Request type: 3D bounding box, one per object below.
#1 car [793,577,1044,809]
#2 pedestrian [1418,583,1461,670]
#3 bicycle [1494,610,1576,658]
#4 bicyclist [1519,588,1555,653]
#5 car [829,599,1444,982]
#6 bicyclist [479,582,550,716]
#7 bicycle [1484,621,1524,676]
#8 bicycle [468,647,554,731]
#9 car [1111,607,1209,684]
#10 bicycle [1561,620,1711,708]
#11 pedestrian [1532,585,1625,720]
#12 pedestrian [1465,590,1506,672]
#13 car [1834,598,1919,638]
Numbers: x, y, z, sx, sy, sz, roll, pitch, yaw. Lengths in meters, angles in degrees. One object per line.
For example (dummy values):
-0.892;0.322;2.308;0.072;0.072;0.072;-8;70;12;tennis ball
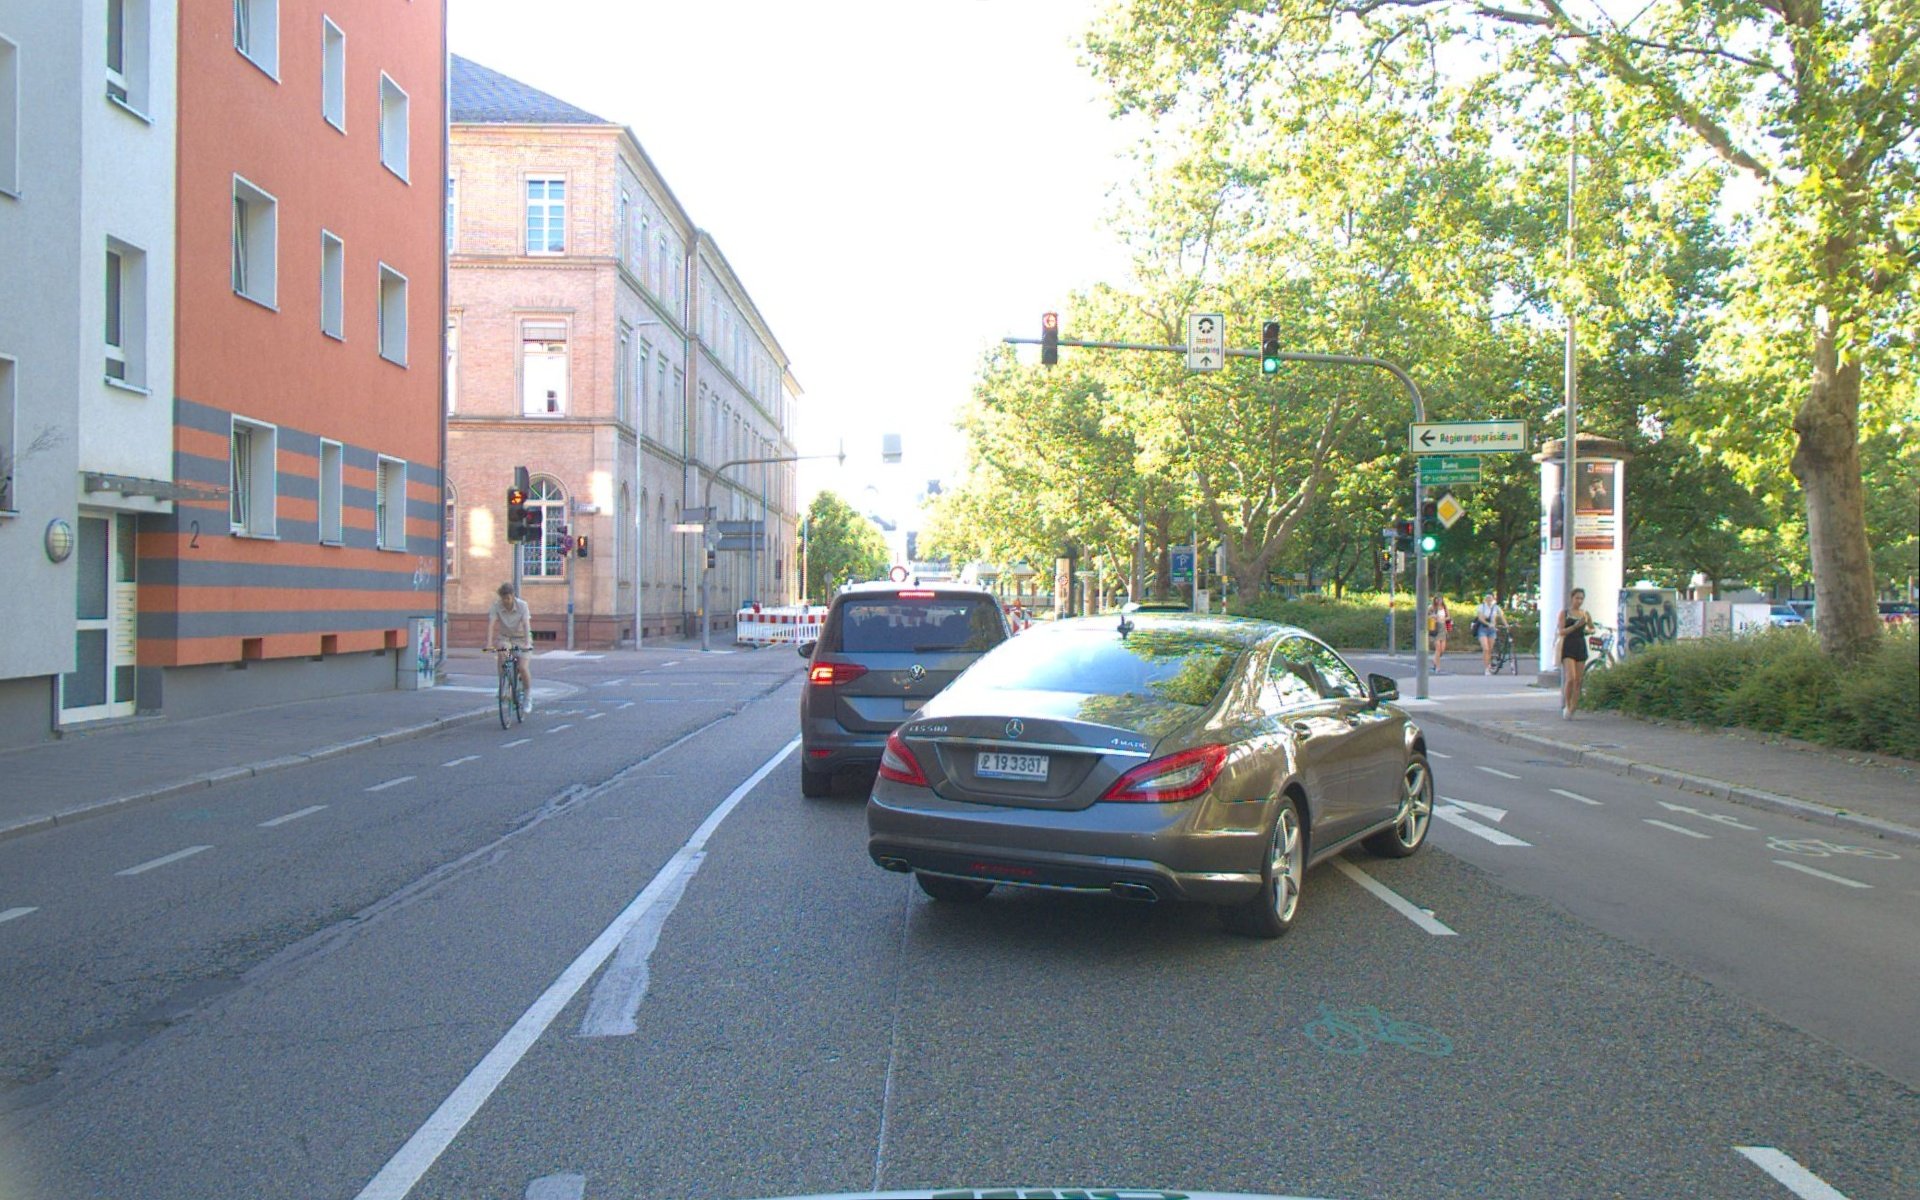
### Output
-0.267;0.669;13.702;1.772;1.641;4.000;0;0;1;car
10.287;0.579;35.490;0.716;1.840;0.910;-1;-1;6;pedestrian
15.442;0.915;44.404;1.989;1.242;0.599;1;-1;-1;bicycle
15.481;0.545;44.401;0.695;1.727;0.675;1;-1;-1;bicyclist
1.242;0.759;8.808;1.807;1.454;4.512;1;0;26;car
-5.404;0.581;20.110;0.635;1.586;0.806;1;-1;-2;bicyclist
11.580;1.010;35.239;0.513;1.119;1.743;1;0;8;bicycle
-5.402;1.050;19.983;0.537;0.906;1.867;1;0;-1;bicycle
4.062;0.901;34.072;1.654;1.465;3.902;1;0;2;car
9.695;0.912;23.743;1.936;1.210;0.528;1;-1;-2;bicycle
7.822;0.657;20.944;0.782;1.659;0.907;-1;-1;-1;pedestrian
11.226;0.660;35.369;0.668;1.727;0.971;1;-1;9;pedestrian
36.261;0.696;65.133;1.596;1.508;3.794;1;0;-2;car
